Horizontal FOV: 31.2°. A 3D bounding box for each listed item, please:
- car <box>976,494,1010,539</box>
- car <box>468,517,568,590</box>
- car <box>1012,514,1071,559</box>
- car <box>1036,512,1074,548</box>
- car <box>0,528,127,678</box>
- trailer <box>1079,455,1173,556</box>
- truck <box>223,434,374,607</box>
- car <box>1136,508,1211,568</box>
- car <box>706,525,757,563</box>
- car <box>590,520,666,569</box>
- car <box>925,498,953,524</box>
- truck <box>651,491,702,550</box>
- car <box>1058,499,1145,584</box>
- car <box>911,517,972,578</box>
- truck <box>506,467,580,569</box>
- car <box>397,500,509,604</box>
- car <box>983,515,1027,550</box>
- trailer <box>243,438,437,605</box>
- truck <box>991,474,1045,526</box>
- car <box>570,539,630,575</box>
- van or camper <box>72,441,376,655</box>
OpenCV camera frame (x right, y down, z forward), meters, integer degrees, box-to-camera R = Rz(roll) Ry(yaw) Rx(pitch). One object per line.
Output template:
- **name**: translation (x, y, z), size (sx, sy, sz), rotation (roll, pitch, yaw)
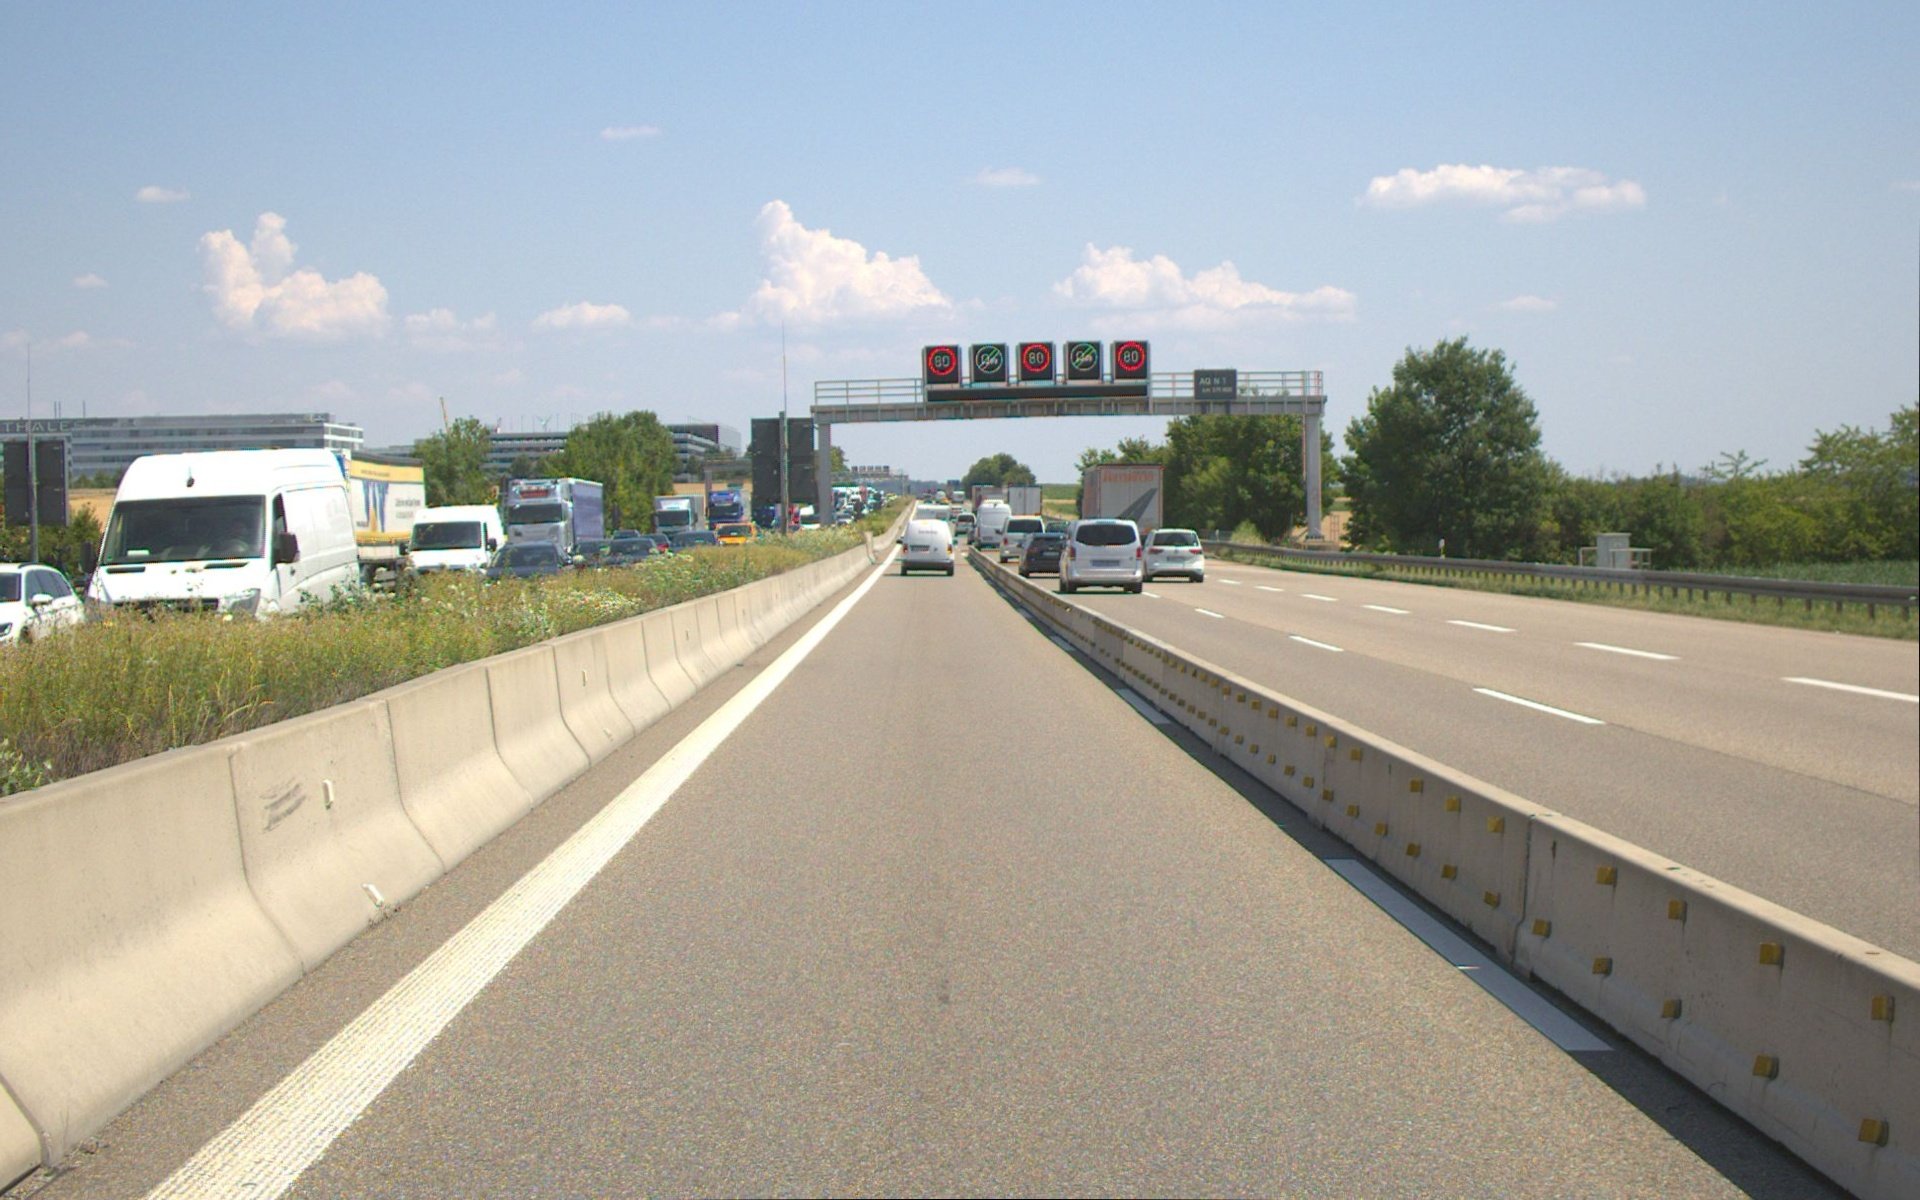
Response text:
- **car**: translation (1.824, -4.559, 188.360), size (1.773, 2.384, 4.000), rotation (0, 1, -1)
- **car**: translation (-9.394, -1.020, 73.372), size (1.597, 1.464, 4.534), rotation (-1, 1, -1)
- **car**: translation (2.623, -2.044, 111.576), size (1.773, 1.442, 4.000), rotation (0, 1, -1)
- **car**: translation (5.404, -3.975, 195.716), size (1.993, 2.007, 4.000), rotation (0, 1, -1)
- **car**: translation (-11.797, 0.015, 42.237), size (1.886, 1.704, 5.523), rotation (-3, 1, -2)
- **trailer**: translation (6.668, -3.779, 139.419), size (3.277, 3.953, 9.113), rotation (0, 1, -1)
- **truck**: translation (-16.398, -1.980, 85.488), size (2.809, 4.114, 4.842), rotation (-1, 1, -1)
- **car**: translation (6.488, -1.866, 104.883), size (1.993, 1.788, 4.000), rotation (0, 1, -1)
- **car**: translation (-9.816, -2.391, 147.969), size (1.894, 1.573, 4.937), rotation (1, 0, -1)
- **car**: translation (-9.483, -1.572, 98.473), size (1.779, 1.330, 4.930), rotation (1, 0, -1)
- **car**: translation (-1.515, -6.445, 249.855), size (1.993, 1.829, 4.000), rotation (0, 1, 0)
- **truck**: translation (-17.773, -4.981, 215.410), size (2.698, 3.575, 4.000), rotation (-2, 1, 1)
- **car**: translation (3.555, -1.475, 87.137), size (1.993, 2.112, 4.000), rotation (0, 1, -1)
- **car**: translation (-0.617, -1.732, 114.204), size (1.993, 2.007, 4.000), rotation (0, 1, -1)
- **truck**: translation (-17.167, -3.393, 141.731), size (2.411, 4.072, 4.660), rotation (-1, 1, 0)
- **car**: translation (-12.854, -1.255, 87.490), size (2.046, 2.492, 5.813), rotation (-1, 1, -1)
- **car**: translation (1.896, -2.856, 145.918), size (1.773, 1.442, 4.000), rotation (0, 1, -1)
- **trailer**: translation (-16.538, -2.140, 92.842), size (2.809, 4.114, 14.131), rotation (-1, 1, -1)
- **truck**: translation (4.420, -7.657, 264.789), size (3.815, 3.891, 9.581), rotation (-1, 1, -1)
- **car**: translation (-12.900, -1.538, 123.213), size (1.747, 1.262, 4.434), rotation (1, 0, -1)
- **van or camper**: translation (-8.290, -0.622, 39.473), size (2.035, 2.214, 7.209), rotation (1, 1, -1)
